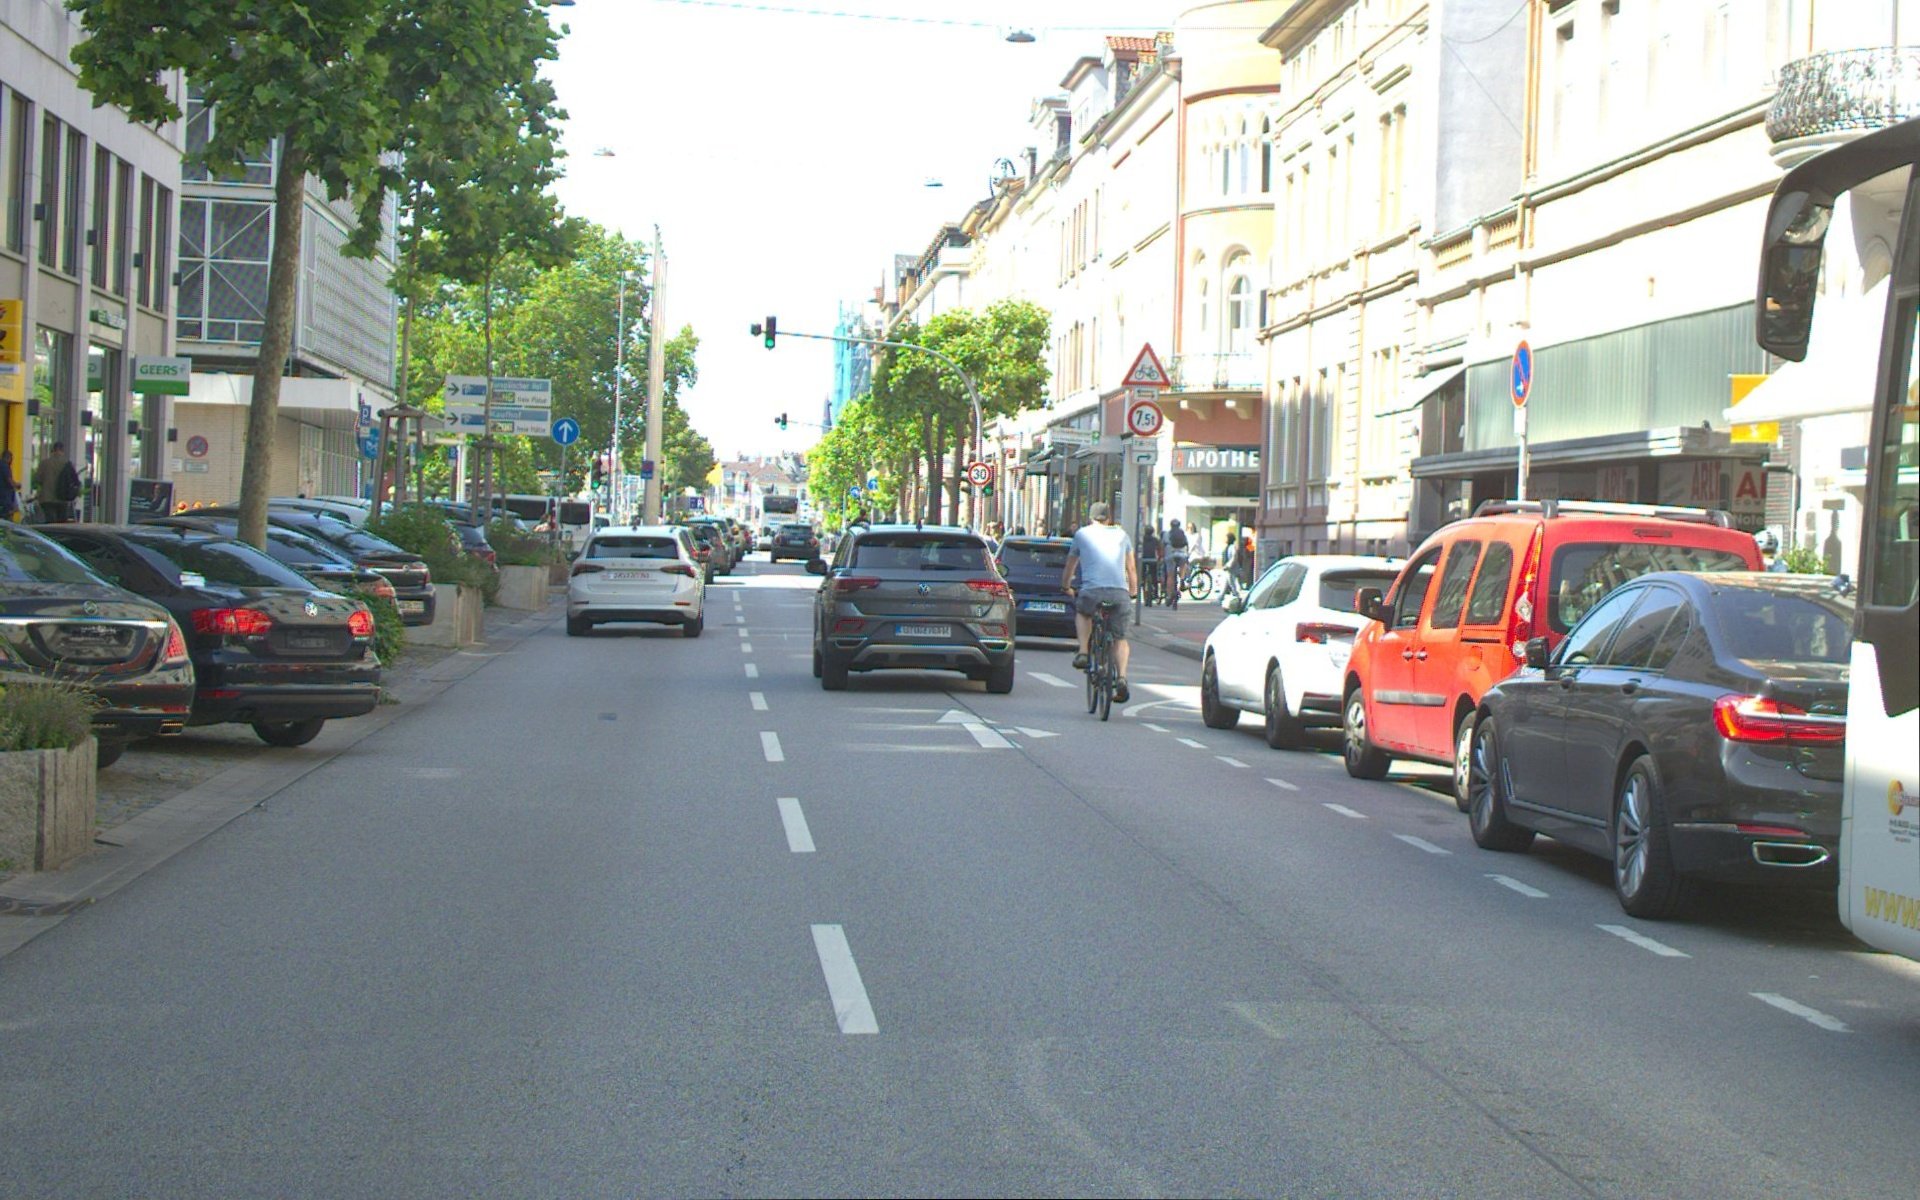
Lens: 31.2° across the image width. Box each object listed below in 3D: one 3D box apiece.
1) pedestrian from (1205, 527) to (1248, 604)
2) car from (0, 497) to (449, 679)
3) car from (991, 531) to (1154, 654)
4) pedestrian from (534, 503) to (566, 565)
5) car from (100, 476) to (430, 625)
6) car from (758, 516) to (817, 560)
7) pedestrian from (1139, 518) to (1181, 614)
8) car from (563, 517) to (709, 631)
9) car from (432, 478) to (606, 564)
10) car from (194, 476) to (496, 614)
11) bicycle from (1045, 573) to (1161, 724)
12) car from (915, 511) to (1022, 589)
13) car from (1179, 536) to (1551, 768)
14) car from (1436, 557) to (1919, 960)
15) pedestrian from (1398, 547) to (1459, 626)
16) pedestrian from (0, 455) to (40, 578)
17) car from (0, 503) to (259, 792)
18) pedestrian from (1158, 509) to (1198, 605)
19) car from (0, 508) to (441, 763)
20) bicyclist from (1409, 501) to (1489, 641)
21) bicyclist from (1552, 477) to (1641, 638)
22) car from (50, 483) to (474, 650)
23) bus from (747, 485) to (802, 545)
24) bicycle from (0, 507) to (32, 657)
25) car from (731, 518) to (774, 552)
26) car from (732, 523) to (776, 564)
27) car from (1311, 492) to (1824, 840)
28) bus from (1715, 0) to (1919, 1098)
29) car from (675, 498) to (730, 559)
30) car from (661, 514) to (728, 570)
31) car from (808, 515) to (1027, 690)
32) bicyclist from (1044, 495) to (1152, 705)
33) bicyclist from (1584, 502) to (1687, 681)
[{"bbox_3d":[6.040,-0.784,78.046,0.791,1.714,0.730,1,1,-8],"label":"pedestrian"},{"bbox_3d":[-7.233,-0.139,33.099,4.647,1.403,1.902,5,3,40],"label":"car"},{"bbox_3d":[1.475,-0.129,46.183,1.822,1.404,3.187,4,2,-3],"label":"car"},{"bbox_3d":[-10.849,-1.738,90.995,0.612,1.609,0.550,2,-1,-33],"label":"pedestrian"},{"bbox_3d":[-8.992,-0.651,44.739,3.986,1.495,1.718,6,1,-8],"label":"car"},{"bbox_3d":[-6.020,-2.172,119.659,1.862,1.436,4.001,2,1,-5],"label":"car"},{"bbox_3d":[4.014,-0.696,69.066,0.709,1.893,1.152,2,1,0],"label":"pedestrian"},{"bbox_3d":[-4.356,-0.379,46.255,1.862,1.436,4.001,1,1,-5],"label":"car"},{"bbox_3d":[-12.610,-2.257,98.197,4.719,1.996,1.937,6,1,36],"label":"car"},{"bbox_3d":[-9.142,-0.818,51.134,3.992,1.563,1.698,7,1,21],"label":"car"},{"bbox_3d":[1.171,0.383,28.701,0.664,1.116,2.244,4,2,-4],"label":"bicycle"},{"bbox_3d":[0.137,-0.986,66.228,1.822,1.380,4.001,2,2,-3],"label":"car"},{"bbox_3d":[3.061,0.335,26.968,1.812,1.461,4.582,3,2,-7],"label":"car"},{"bbox_3d":[3.681,0.617,15.990,1.859,1.465,5.226,4,1,-3],"label":"car"},{"bbox_3d":[7.675,-0.224,56.360,0.936,1.264,0.567,0,1,3],"label":"pedestrian"},{"bbox_3d":[-15.525,-1.374,56.471,0.624,2.007,0.701,1,1,-3],"label":"pedestrian"},{"bbox_3d":[-6.544,0.150,20.527,4.753,1.528,1.986,4,2,39],"label":"car"},{"bbox_3d":[4.188,-0.827,66.138,0.652,1.803,0.729,2,1,0],"label":"pedestrian"},{"bbox_3d":[-5.970,0.158,23.528,4.792,1.417,1.879,5,2,36],"label":"car"},{"bbox_3d":[5.658,-0.341,39.793,0.709,1.589,0.963,2,1,-2],"label":"bicyclist"},{"bbox_3d":[6.446,-0.432,34.839,0.658,1.589,0.920,2,1,-2],"label":"bicyclist"},{"bbox_3d":[-7.792,-0.376,38.323,4.347,1.508,1.830,5,1,27],"label":"car"},{"bbox_3d":[-11.637,-5.328,215.169,2.769,3.592,8.976,1,1,-7],"label":"bus"},{"bbox_3d":[-9.165,-0.224,29.772,2.064,1.284,0.368,4,0,-11],"label":"bicycle"},{"bbox_3d":[-9.539,-2.964,158.008,1.862,1.436,4.000,1,-1,-5],"label":"car"},{"bbox_3d":[-9.461,-2.562,157.664,1.863,1.700,4.000,-3,0,-5],"label":"car"},{"bbox_3d":[3.652,0.309,21.533,1.827,1.857,4.355,3,1,-8],"label":"car"},{"bbox_3d":[4.667,-0.252,5.630,2.881,3.729,12.429,4,1,-5],"label":"bus"},{"bbox_3d":[-9.161,-2.528,122.179,1.862,2.023,4.000,2,0,-5],"label":"car"},{"bbox_3d":[-7.182,-1.582,93.076,1.743,1.436,4.001,2,1,-4],"label":"car"},{"bbox_3d":[-0.468,-0.017,32.857,1.833,1.522,4.001,2,1,-4],"label":"car"},{"bbox_3d":[1.137,-0.012,28.565,0.694,1.667,0.916,4,2,-3],"label":"bicyclist"},{"bbox_3d":[5.713,-0.080,29.117,0.625,1.471,0.889,2,1,-2],"label":"bicyclist"}]
